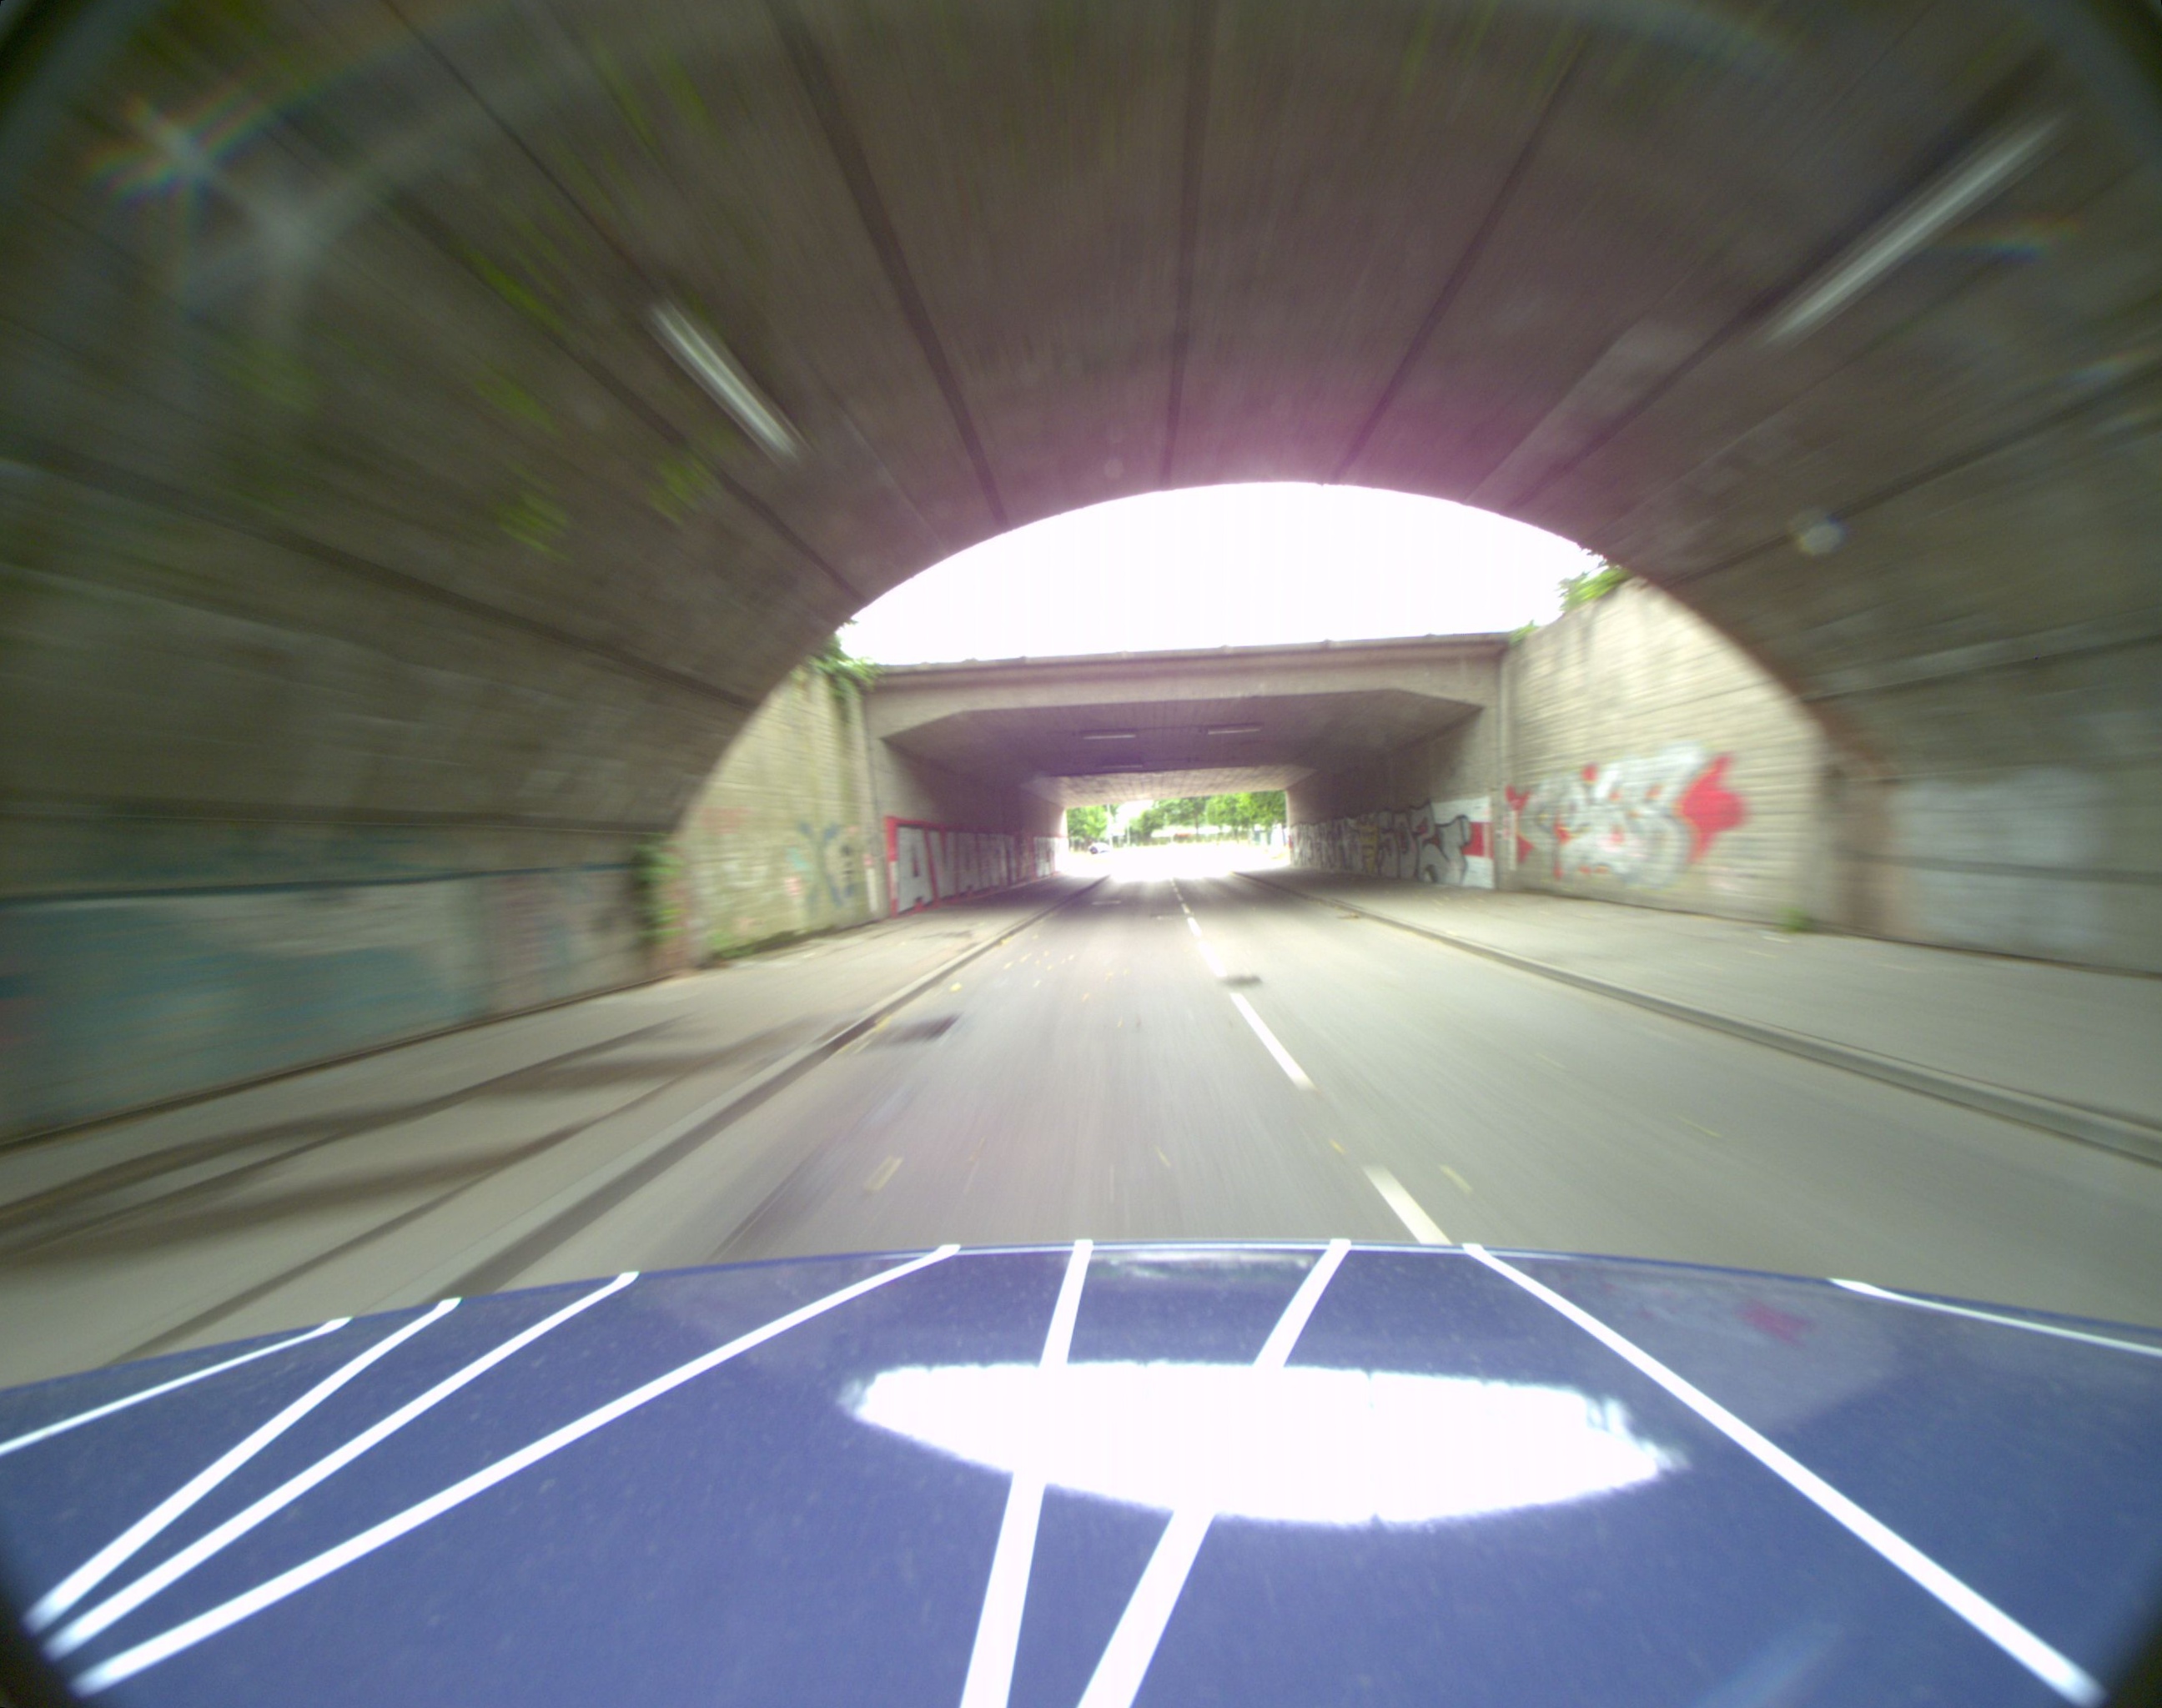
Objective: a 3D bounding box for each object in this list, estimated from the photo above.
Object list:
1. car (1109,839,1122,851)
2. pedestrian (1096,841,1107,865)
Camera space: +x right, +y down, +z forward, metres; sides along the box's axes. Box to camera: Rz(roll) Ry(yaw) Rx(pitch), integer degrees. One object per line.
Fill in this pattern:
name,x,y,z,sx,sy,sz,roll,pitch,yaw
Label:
car,4.899,-1.294,107.360,1.807,1.601,4.174,-1,3,2
pedestrian,1.609,-0.054,60.397,0.821,1.869,1.180,0,2,-1
